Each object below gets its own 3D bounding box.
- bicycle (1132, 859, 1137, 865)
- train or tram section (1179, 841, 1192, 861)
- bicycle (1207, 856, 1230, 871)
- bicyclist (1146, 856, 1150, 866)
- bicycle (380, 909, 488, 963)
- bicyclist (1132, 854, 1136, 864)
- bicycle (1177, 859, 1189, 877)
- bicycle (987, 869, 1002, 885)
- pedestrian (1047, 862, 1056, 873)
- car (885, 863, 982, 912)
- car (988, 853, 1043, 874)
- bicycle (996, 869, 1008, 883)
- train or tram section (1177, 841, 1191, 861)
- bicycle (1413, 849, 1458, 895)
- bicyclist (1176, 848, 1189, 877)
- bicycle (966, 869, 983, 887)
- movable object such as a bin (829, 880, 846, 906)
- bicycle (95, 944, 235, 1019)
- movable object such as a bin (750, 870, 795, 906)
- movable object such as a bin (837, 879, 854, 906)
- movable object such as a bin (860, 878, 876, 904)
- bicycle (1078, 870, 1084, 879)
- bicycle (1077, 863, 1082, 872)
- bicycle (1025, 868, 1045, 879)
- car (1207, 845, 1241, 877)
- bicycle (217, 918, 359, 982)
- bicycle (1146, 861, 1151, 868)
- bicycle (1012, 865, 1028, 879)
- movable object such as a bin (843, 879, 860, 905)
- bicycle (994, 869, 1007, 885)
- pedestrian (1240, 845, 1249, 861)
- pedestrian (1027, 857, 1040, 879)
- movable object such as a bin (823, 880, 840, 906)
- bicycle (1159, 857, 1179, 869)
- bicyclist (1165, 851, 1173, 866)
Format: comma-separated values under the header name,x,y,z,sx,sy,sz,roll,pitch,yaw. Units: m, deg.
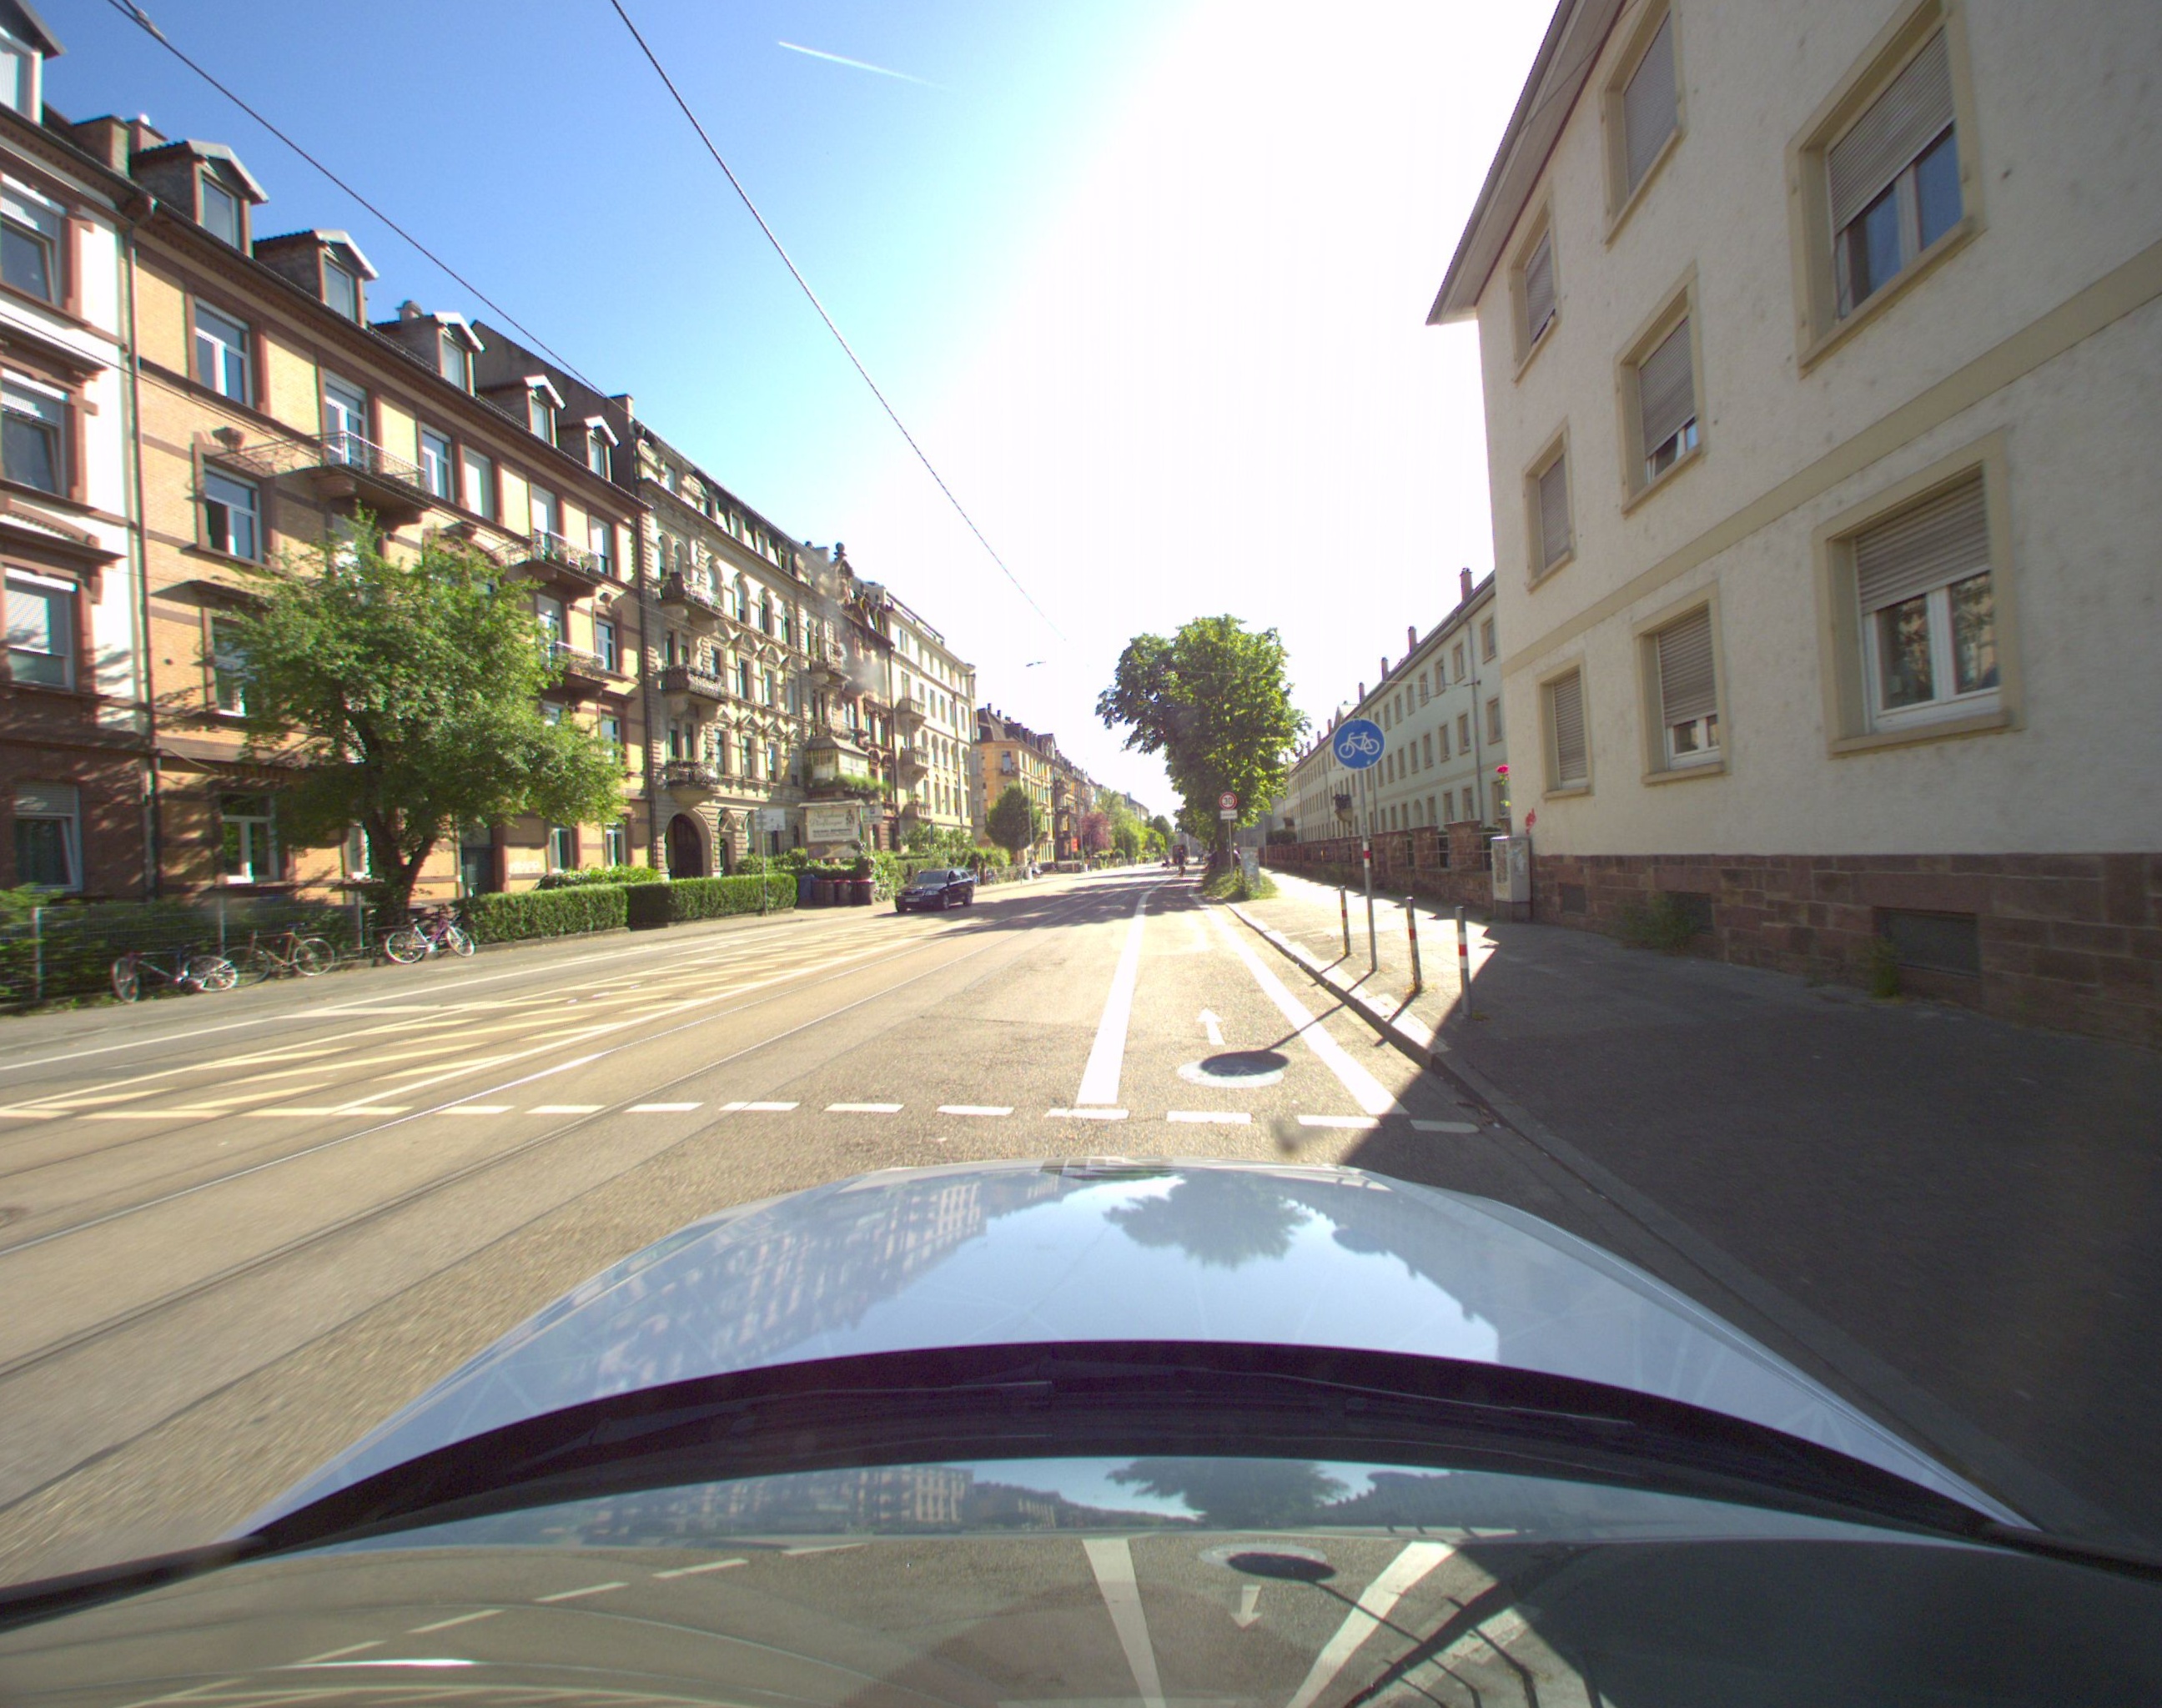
name,x,y,z,sx,sy,sz,roll,pitch,yaw
bicycle,8.559,1.277,129.899,0.457,0.926,2.208,-5,-1,9
train or tram section,19.295,-0.577,150.713,2.141,3.431,6.627,-2,0,8
bicycle,10.851,0.749,64.449,1.751,1.078,0.435,-2,0,9
bicyclist,13.141,1.354,159.280,0.656,1.801,0.617,-5,-1,8
bicycle,-13.388,1.674,16.932,0.339,0.926,1.950,-2,0,13
bicyclist,8.490,0.810,129.774,0.461,1.618,0.746,-5,-1,9
bicycle,6.621,0.925,52.823,0.688,1.112,1.723,-2,0,9
bicycle,-6.040,1.623,56.956,0.560,1.033,1.771,-2,0,8
pedestrian,-3.560,1.627,98.610,0.895,1.352,0.579,-5,-1,10
car,-5.153,1.120,29.192,1.821,1.518,4.979,-1,0,9
car,-5.825,0.833,72.274,4.417,1.643,1.972,-2,-1,11
bicycle,-5.959,1.638,61.564,0.564,1.033,1.758,1,0,-16
train or tram section,18.305,-0.550,144.115,2.141,3.431,6.627,-2,0,8
bicycle,8.916,0.429,20.538,0.456,1.092,1.674,-2,0,3
bicyclist,6.597,0.562,52.794,0.723,1.848,0.838,-2,0,8
bicycle,-6.882,1.559,52.769,0.560,1.033,1.772,-2,1,9
movable object such as a bin,-10.604,1.679,35.421,0.476,1.086,0.543,-2,0,10
bicycle,-14.279,1.965,12.744,0.339,0.926,1.457,-2,0,13
movable object such as a bin,-13.048,1.432,34.509,1.311,1.447,1.174,-2,0,10
movable object such as a bin,-10.068,1.647,34.762,0.476,1.086,0.543,-2,0,10
movable object such as a bin,-9.270,1.608,35.463,0.476,1.086,0.543,-2,0,10
bicycle,0.013,2.511,98.552,0.333,1.001,1.874,-2,0,9
bicycle,-0.201,1.634,97.625,0.368,1.126,0.811,-2,0,9
bicycle,-4.425,1.877,77.782,1.793,0.914,0.615,-2,-2,-27
car,8.413,0.377,48.140,1.734,1.766,4.488,-2,0,8
bicycle,-14.292,1.707,14.764,0.339,0.926,1.950,-2,0,13
bicycle,13.202,2.052,159.331,0.688,1.112,1.723,-5,-1,9
bicycle,-4.780,1.392,63.998,0.566,1.033,1.751,-2,1,-28
movable object such as a bin,-9.962,1.632,35.391,0.476,1.086,0.543,-2,0,10
bicycle,-5.801,1.649,58.749,0.560,1.033,1.771,-2,0,8
pedestrian,18.072,-0.143,90.142,0.755,1.724,0.583,-2,0,38
pedestrian,-3.786,1.126,65.211,0.825,1.724,1.084,-2,-1,7
movable object such as a bin,-10.666,1.663,34.829,0.476,1.086,0.543,-2,0,10
bicycle,8.956,0.945,82.985,1.912,1.112,0.691,-2,0,-12
bicyclist,9.004,0.492,83.007,0.614,1.468,0.635,-2,0,-11
